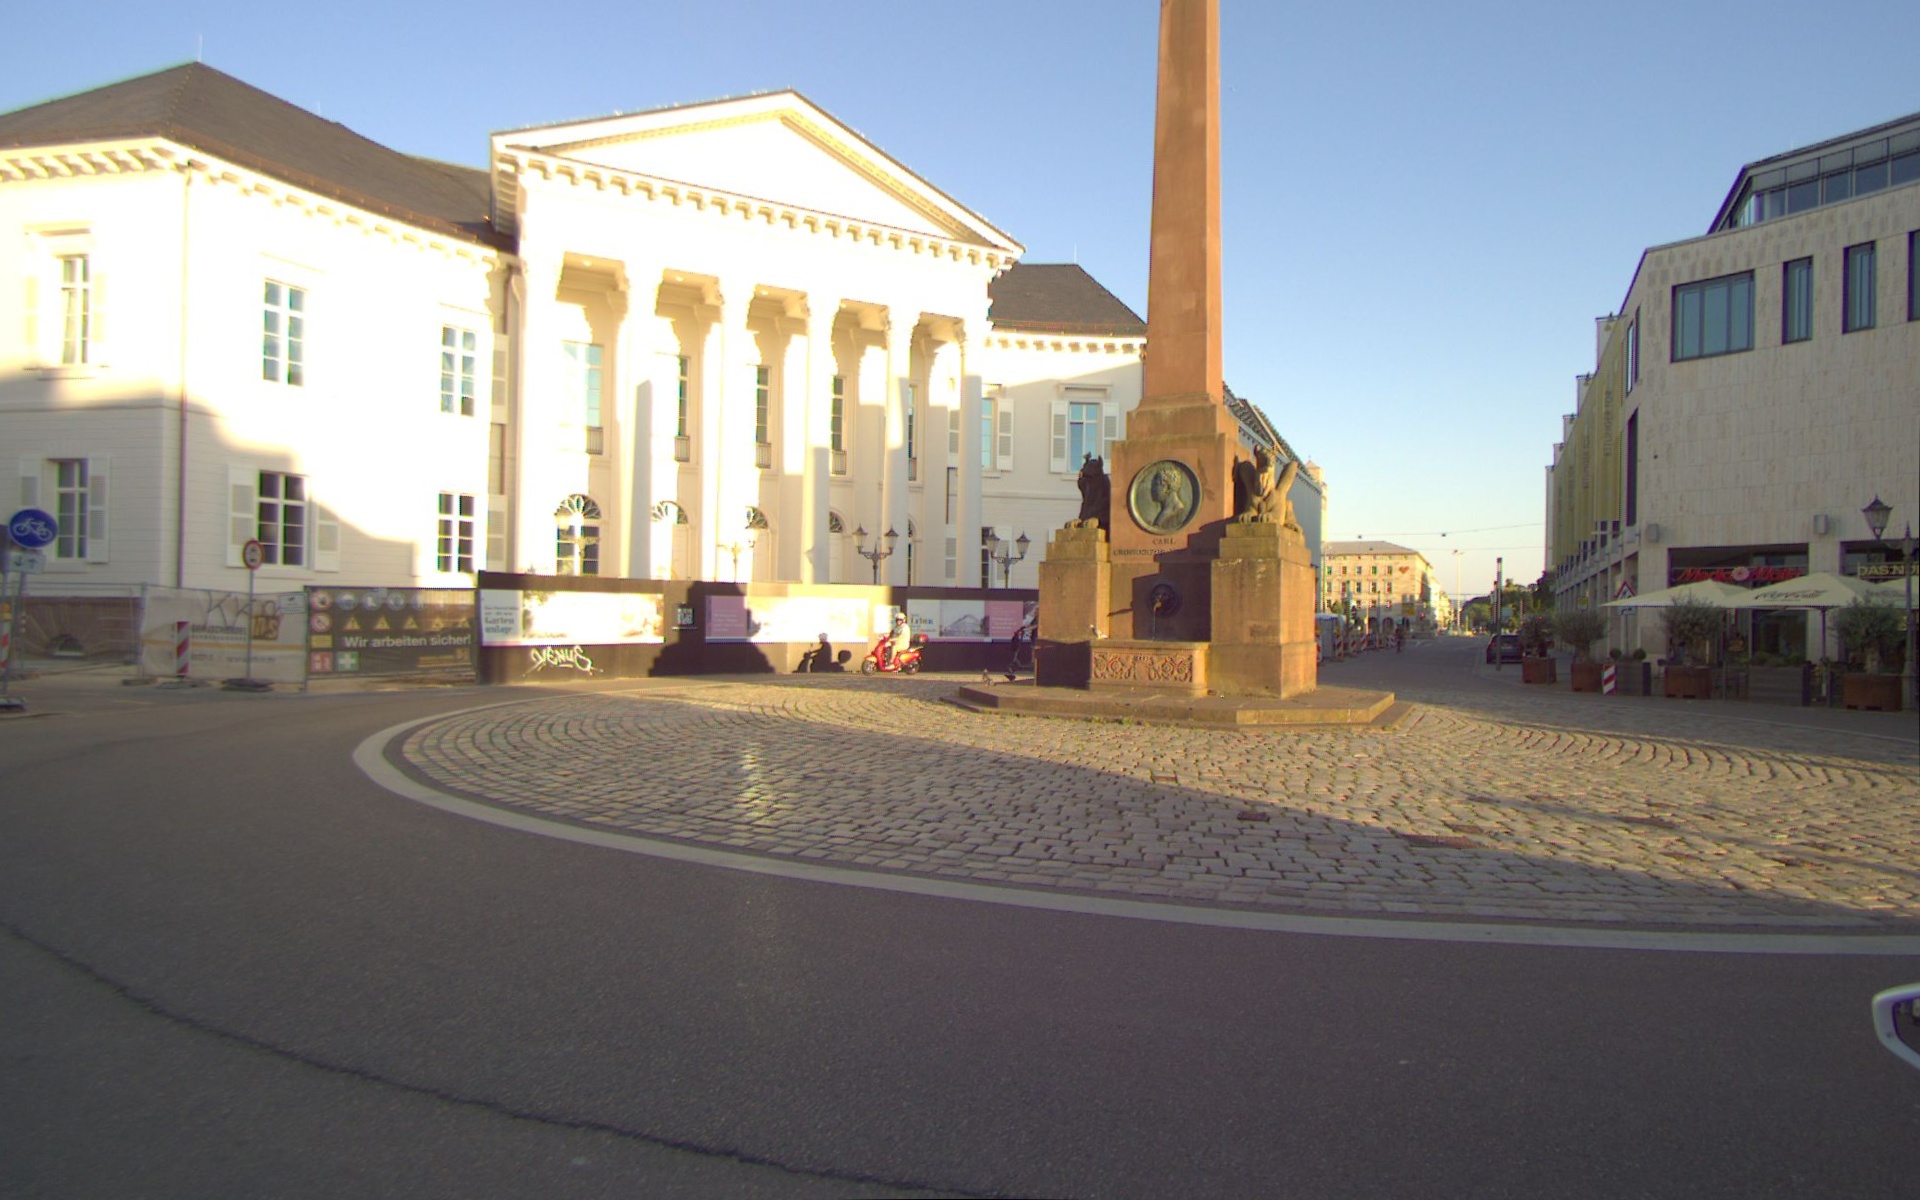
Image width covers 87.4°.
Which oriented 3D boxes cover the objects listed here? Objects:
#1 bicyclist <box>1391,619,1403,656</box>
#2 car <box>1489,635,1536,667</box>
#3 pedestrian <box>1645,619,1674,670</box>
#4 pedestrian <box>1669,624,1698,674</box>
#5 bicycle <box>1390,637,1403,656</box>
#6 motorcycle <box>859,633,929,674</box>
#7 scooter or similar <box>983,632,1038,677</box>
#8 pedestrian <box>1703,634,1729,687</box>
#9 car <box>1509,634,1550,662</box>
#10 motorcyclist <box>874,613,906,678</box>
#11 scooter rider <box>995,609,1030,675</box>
[{"bbox_3d":[27.536,2.354,63.299,0.591,2.272,0.802,1,-1,29],"label":"bicyclist"},{"bbox_3d":[27.654,2.509,50.242,1.964,1.483,3.993,1,-1,30],"label":"car"},{"bbox_3d":[25.717,1.630,36.939,0.625,1.840,0.699,1,-1,12],"label":"pedestrian"},{"bbox_3d":[26.476,1.788,36.762,0.696,1.811,0.645,1,-1,22],"label":"pedestrian"},{"bbox_3d":[27.537,2.915,63.320,0.591,1.153,1.752,1,-1,29],"label":"bicycle"},{"bbox_3d":[-1.738,1.413,26.433,1.728,1.045,0.599,1,-1,-19],"label":"motorcycle"},{"bbox_3d":[1.465,1.557,28.953,1.478,1.261,0.545,2,-1,-26],"label":"scooter or similar"},{"bbox_3d":[20.680,1.636,27.487,0.501,1.416,0.492,0,-1,44],"label":"pedestrian"},{"bbox_3d":[32.558,2.706,57.422,1.964,1.483,3.993,1,-1,30],"label":"car"},{"bbox_3d":[-1.832,1.187,26.379,0.681,1.674,0.599,1,-1,-19],"label":"motorcyclist"},{"bbox_3d":[1.517,1.194,28.982,0.848,1.874,0.545,1,-1,-25],"label":"scooter rider"}]
